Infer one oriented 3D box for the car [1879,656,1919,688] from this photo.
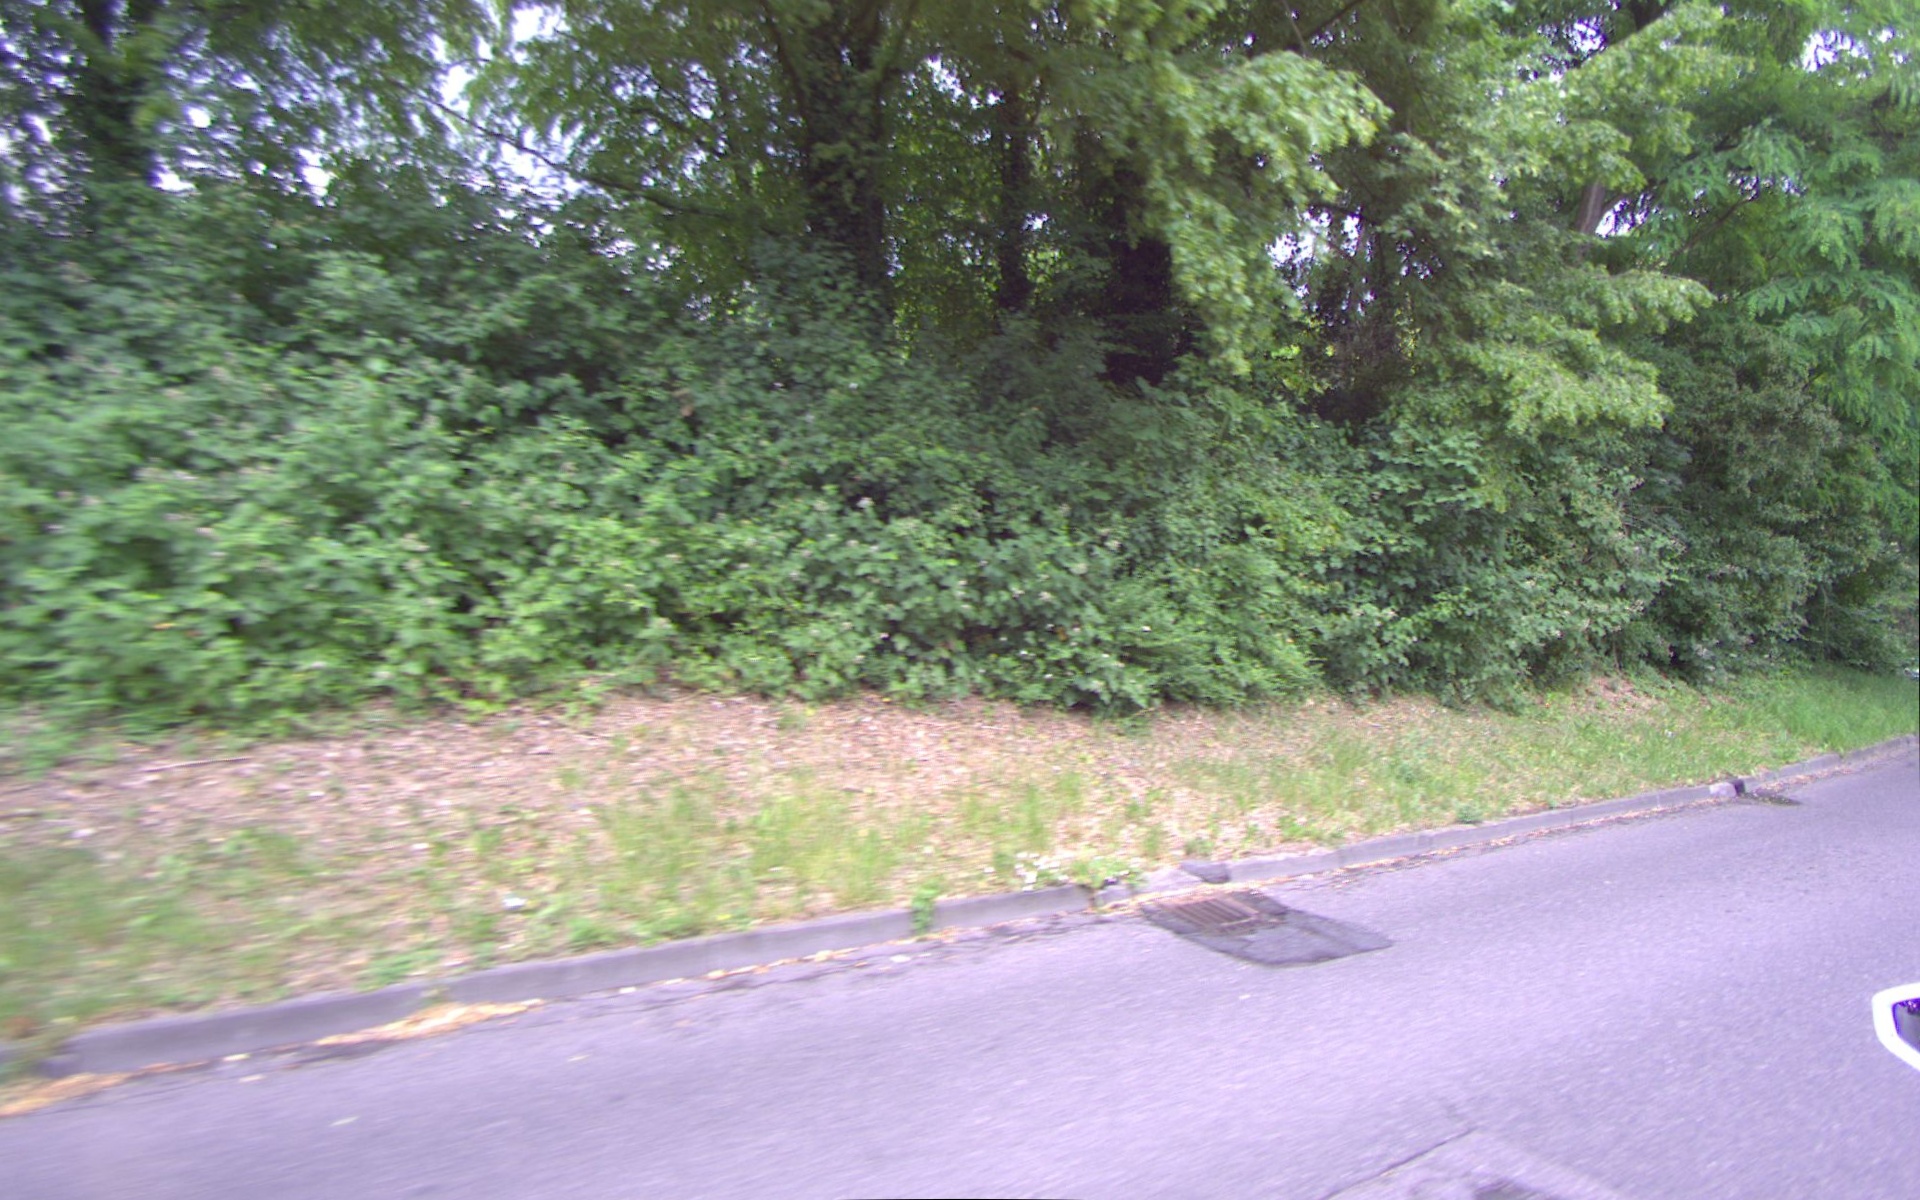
[{"bbox_3d":[46.421,3.501,49.057,1.789,1.486,3.987,0,-2,35],"label":"car"}]
